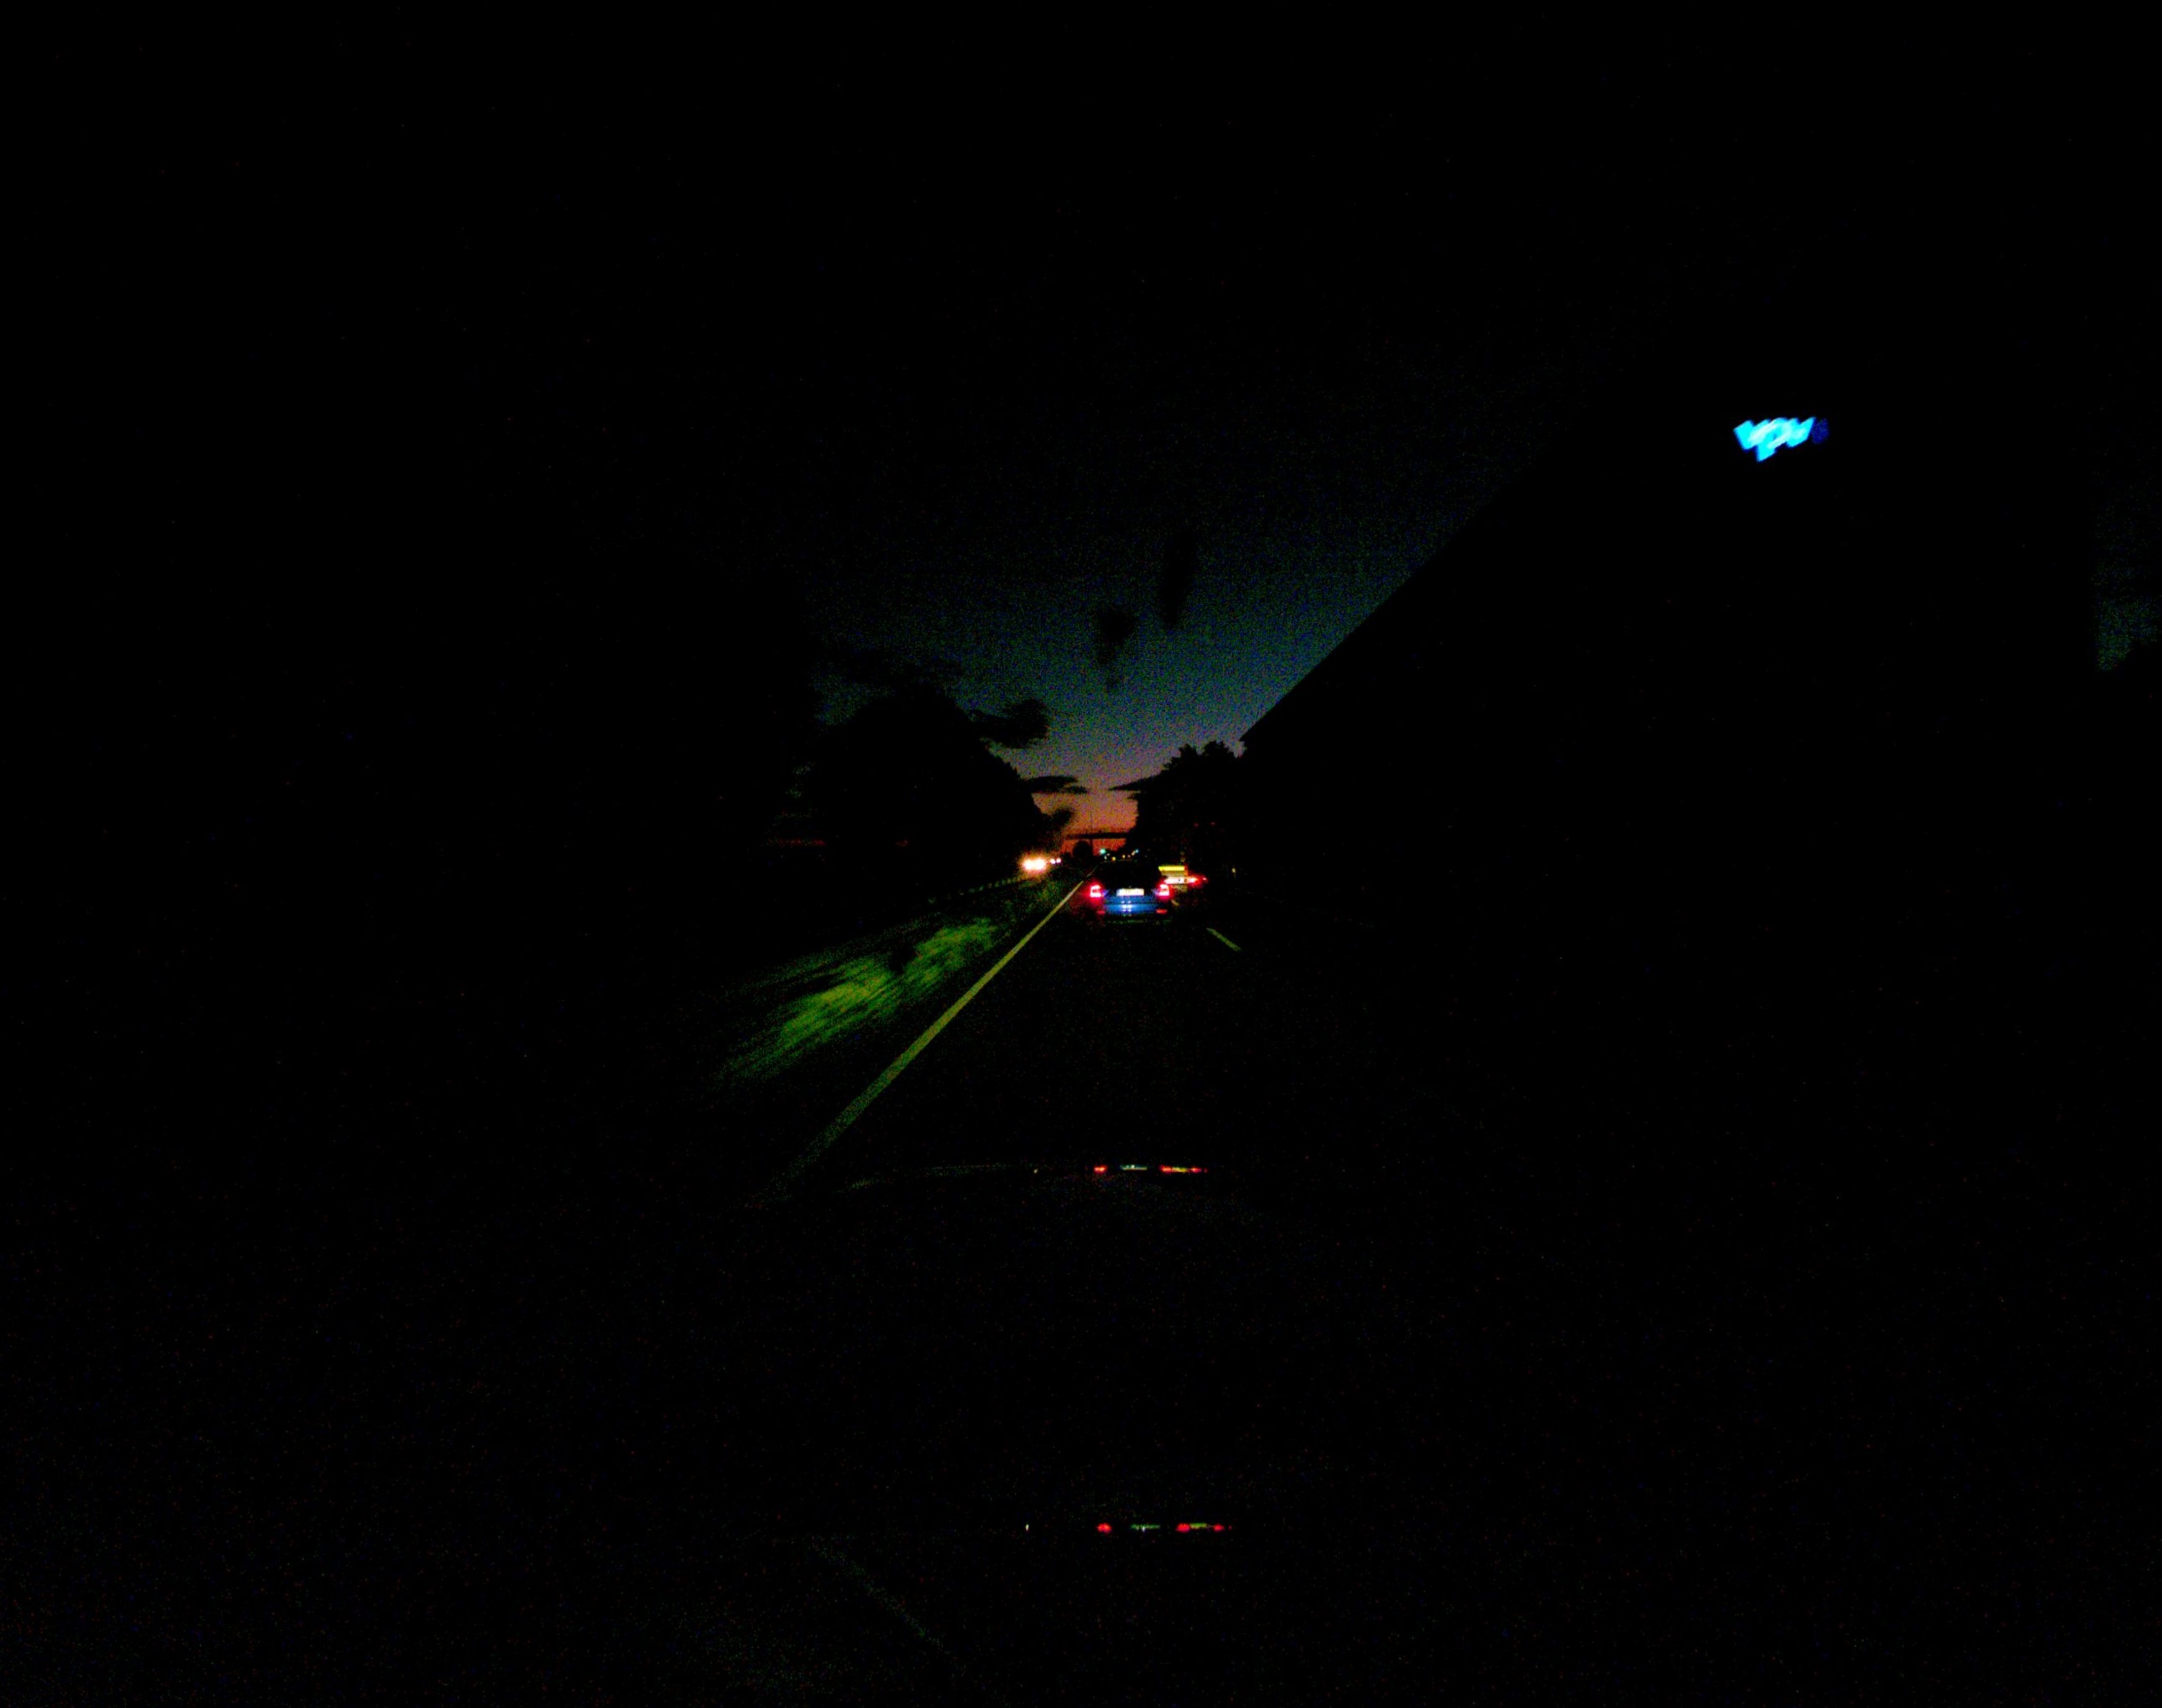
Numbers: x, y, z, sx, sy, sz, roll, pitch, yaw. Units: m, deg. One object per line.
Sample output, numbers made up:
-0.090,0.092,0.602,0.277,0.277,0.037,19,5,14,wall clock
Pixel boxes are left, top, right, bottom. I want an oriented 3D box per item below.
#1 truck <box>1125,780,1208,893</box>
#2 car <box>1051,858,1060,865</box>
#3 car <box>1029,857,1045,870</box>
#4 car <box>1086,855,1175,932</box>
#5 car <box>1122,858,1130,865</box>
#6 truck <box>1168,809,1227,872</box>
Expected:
3.489,-0.595,36.326,2.677,4.106,13.146,-1,0,2,truck
-5.374,1.586,168.958,1.611,1.507,3.870,-1,-1,2,car
-5.541,1.199,103.550,1.676,1.587,4.168,-1,0,2,car
1.004,0.773,17.530,1.689,1.452,3.915,-1,-1,2,car
10.111,1.668,184.758,1.689,1.452,3.915,-1,-1,2,car
8.335,-0.841,59.723,2.872,4.106,12.688,-1,0,2,truck
